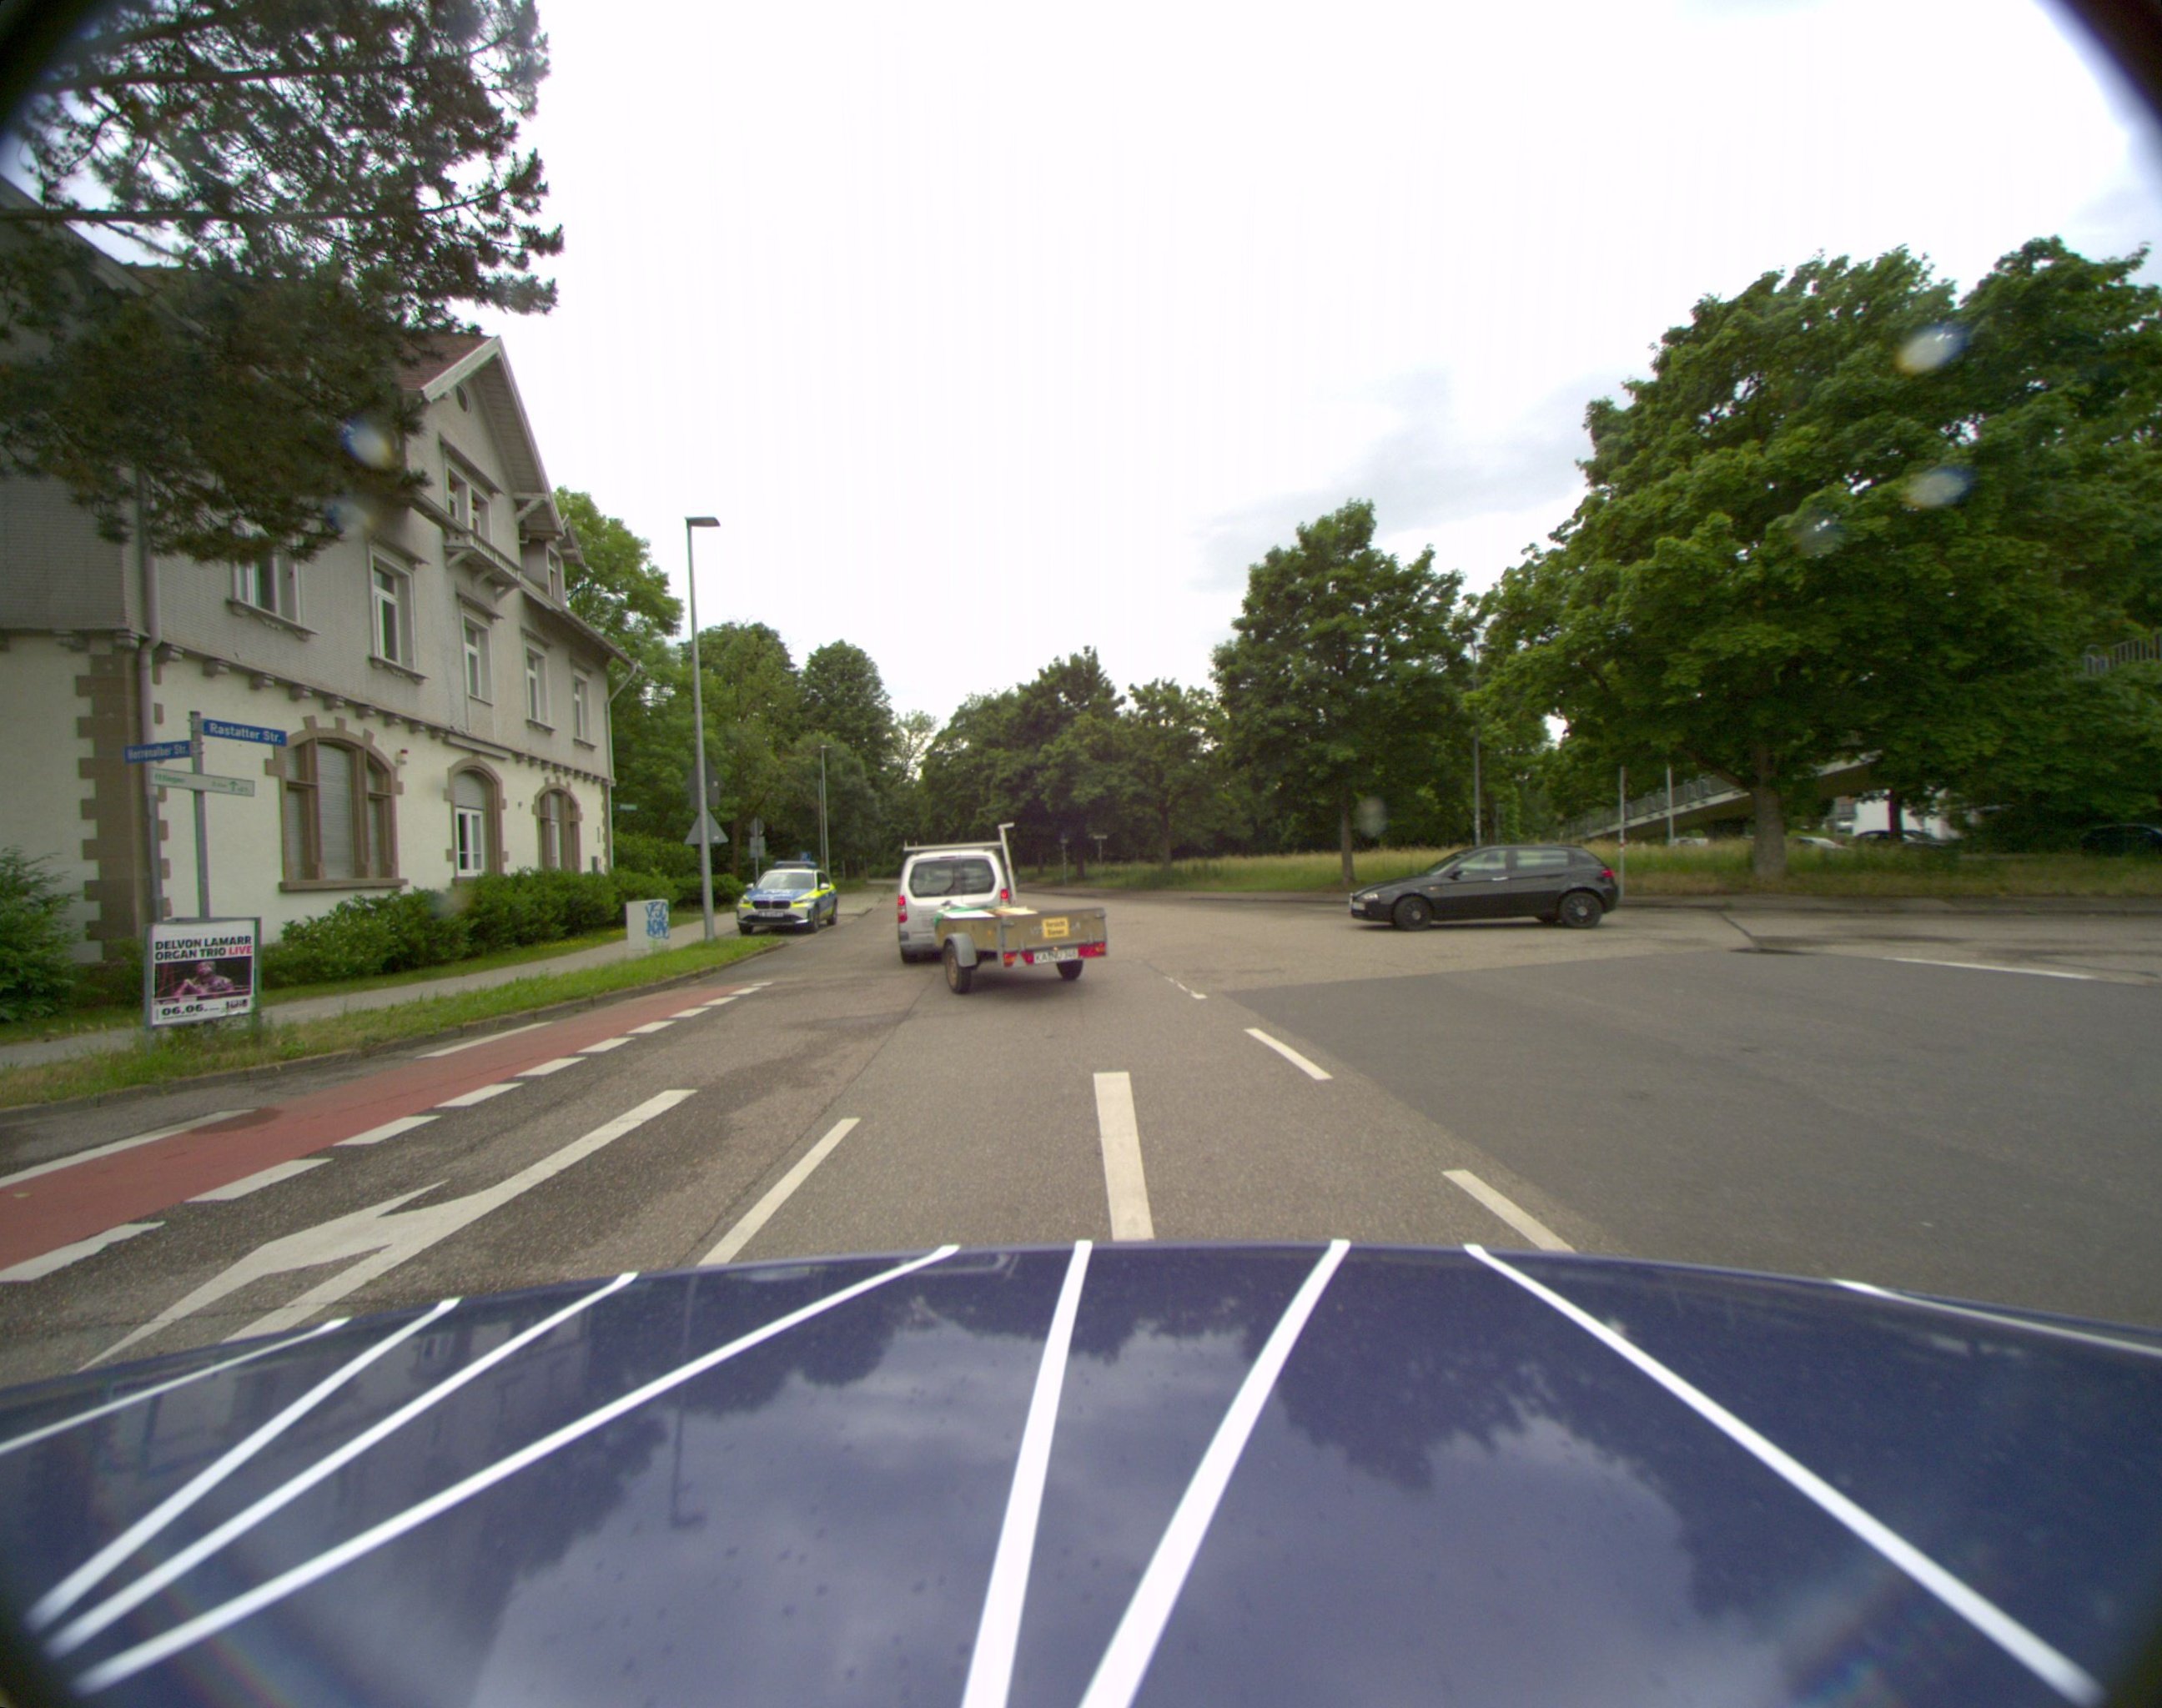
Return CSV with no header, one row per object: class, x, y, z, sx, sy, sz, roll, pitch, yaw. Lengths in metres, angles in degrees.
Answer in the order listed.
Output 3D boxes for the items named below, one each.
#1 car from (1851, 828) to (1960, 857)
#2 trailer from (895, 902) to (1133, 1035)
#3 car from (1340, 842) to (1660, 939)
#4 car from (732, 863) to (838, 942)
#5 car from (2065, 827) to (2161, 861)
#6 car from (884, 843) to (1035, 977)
car,41.822,-0.575,38.691,1.692,1.343,4.003,-2,0,11
trailer,-0.985,1.214,9.140,1.574,0.980,3.457,-3,1,-29
car,7.002,0.617,13.229,4.533,1.448,1.805,-2,0,14
car,-7.619,1.155,19.934,1.937,1.839,3.996,0,0,-12
car,40.399,-0.393,28.713,1.692,1.231,4.003,-2,0,11
car,-2.095,0.804,13.050,2.095,1.847,4.218,-2,0,-10
